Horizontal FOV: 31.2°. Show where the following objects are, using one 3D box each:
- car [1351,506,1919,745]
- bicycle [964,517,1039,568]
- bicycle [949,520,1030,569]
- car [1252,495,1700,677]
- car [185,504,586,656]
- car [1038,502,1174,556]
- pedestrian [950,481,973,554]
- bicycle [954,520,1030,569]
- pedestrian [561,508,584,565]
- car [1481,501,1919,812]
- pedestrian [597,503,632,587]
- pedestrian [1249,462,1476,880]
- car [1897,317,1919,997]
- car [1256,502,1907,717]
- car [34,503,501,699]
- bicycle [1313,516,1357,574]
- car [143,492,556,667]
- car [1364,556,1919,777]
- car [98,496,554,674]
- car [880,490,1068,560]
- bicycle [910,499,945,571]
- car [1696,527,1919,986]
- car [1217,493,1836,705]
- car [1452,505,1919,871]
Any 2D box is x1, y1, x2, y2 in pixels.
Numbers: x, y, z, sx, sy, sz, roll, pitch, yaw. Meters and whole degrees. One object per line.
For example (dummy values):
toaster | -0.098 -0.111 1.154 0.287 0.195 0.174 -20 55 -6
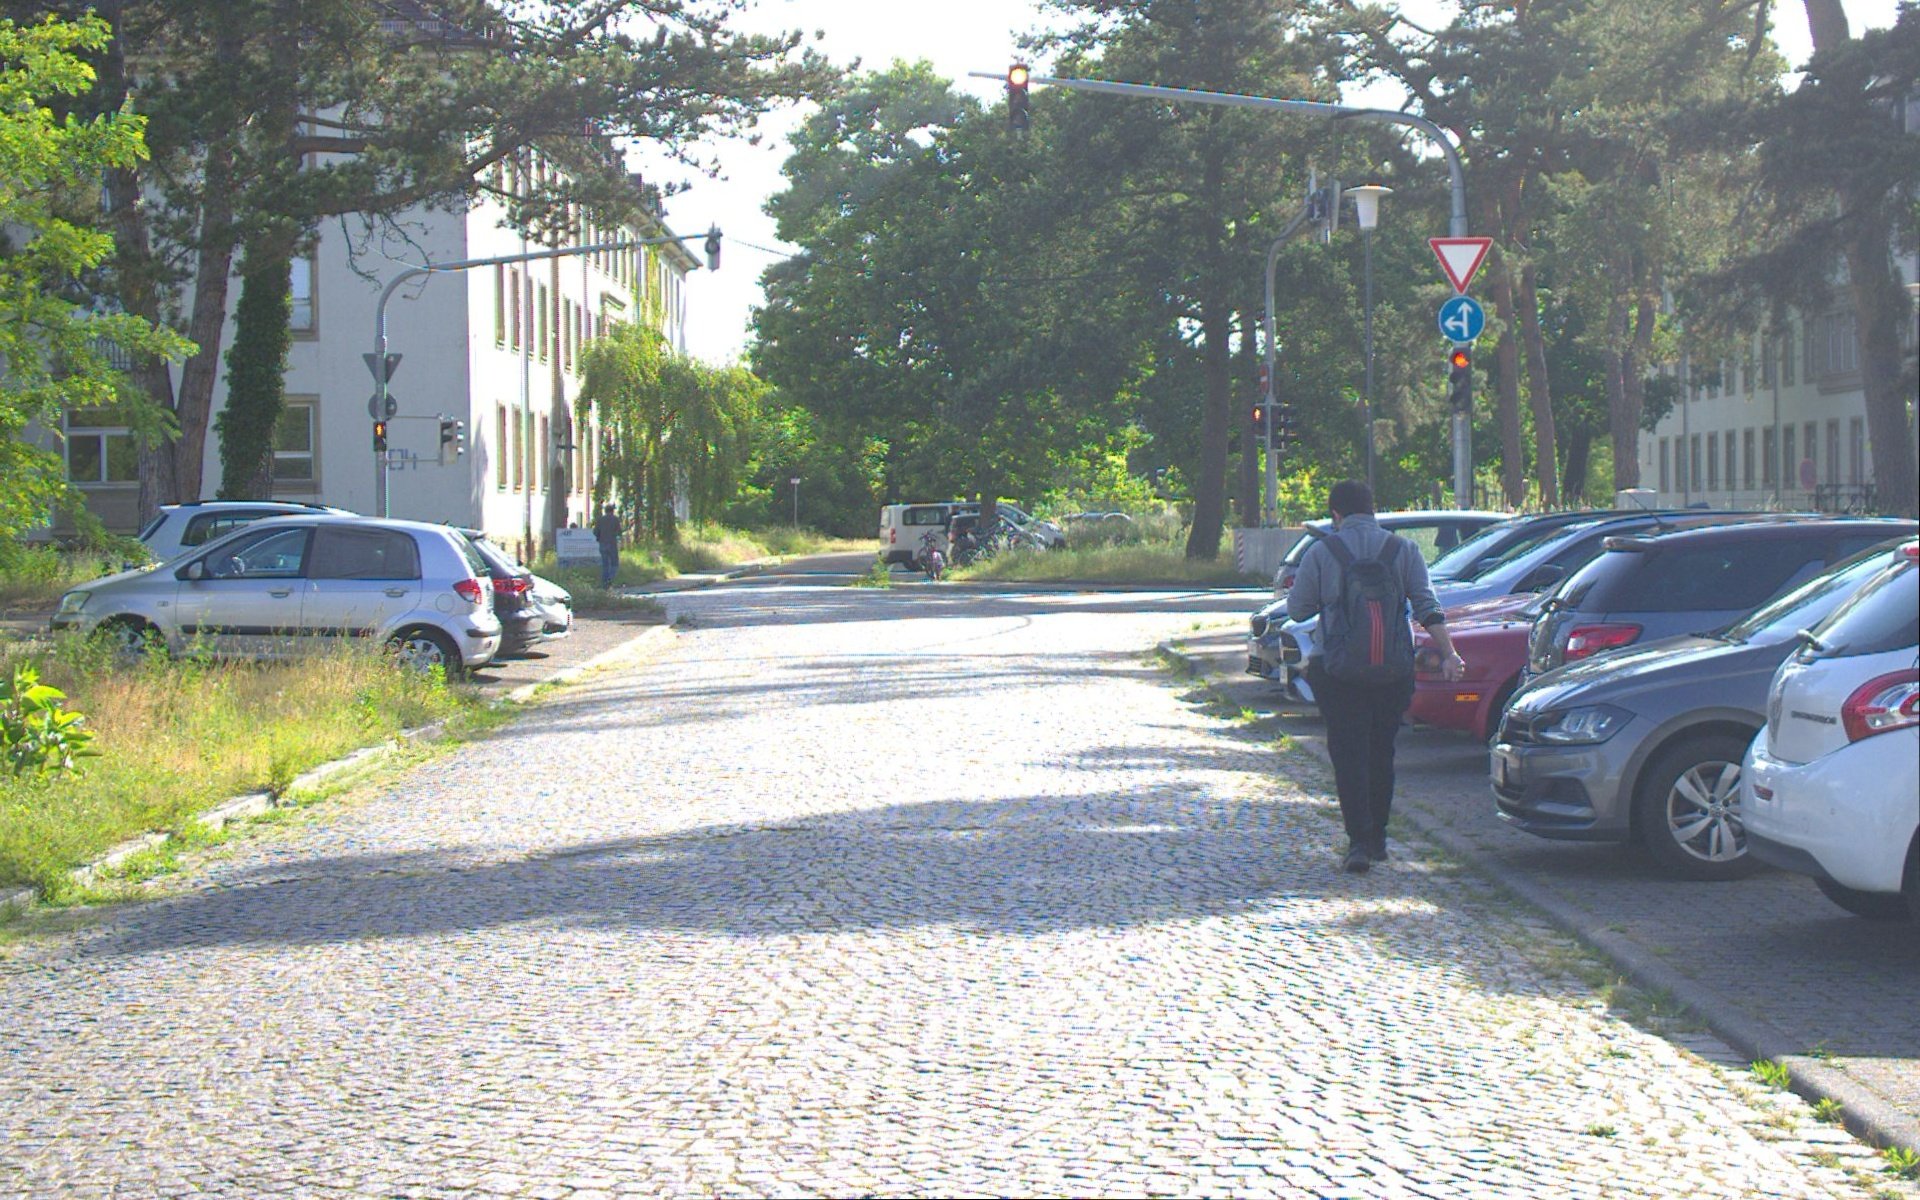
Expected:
car | 4.708 0.139 22.869 3.979 1.443 1.656 -1 1 -1
bicycle | 0.974 -1.349 80.635 1.727 1.160 0.561 -1 1 -3
bicycle | 0.679 -1.279 79.411 1.834 1.108 0.495 -1 1 -3
car | 4.520 -0.146 30.464 3.673 1.438 1.665 -2 1 0
car | -6.258 -0.240 37.702 3.987 1.490 1.772 2 2 5
car | 4.289 -2.097 101.215 3.743 1.574 1.742 0 2 -7
pedestrian | 0.047 -2.298 95.739 0.594 2.007 0.572 0 1 3
bicycle | 0.743 -1.293 79.955 1.727 1.108 0.484 -1 1 -3
pedestrian | -10.516 -1.725 93.345 0.606 1.554 0.545 0 2 -7
car | 4.687 0.232 17.851 3.663 1.450 1.667 -2 1 0
pedestrian | -7.174 -1.144 71.347 0.606 1.746 0.630 -1 2 -18
pedestrian | 1.738 0.289 14.973 0.753 1.719 0.828 4 1 -1
car | 4.546 0.300 6.835 4.754 2.006 2.000 -2 2 0
car | 4.479 0.043 25.217 4.399 1.384 1.789 -2 2 -1
car | -5.907 -0.014 29.644 3.685 1.522 1.699 2 1 -3
bicycle | 7.375 -1.088 67.496 0.722 1.111 2.583 0 1 9
car | -6.158 -0.226 34.970 3.879 1.610 1.661 2 1 -1
car | 4.224 0.372 20.486 3.460 1.238 1.536 0 1 0
car | -5.903 -0.162 32.308 3.937 1.440 1.691 3 1 -1
car | 0.380 -2.142 97.313 5.065 1.911 2.001 -1 2 -9
bicycle | -0.724 -1.451 76.274 0.753 1.575 2.537 0 2 -1
car | 4.588 0.480 12.086 3.645 1.487 1.634 -1 1 0
car | 4.530 -0.036 27.928 4.619 1.450 1.870 -3 2 -2
car | 4.170 0.318 15.016 3.781 1.445 1.758 -2 2 2
